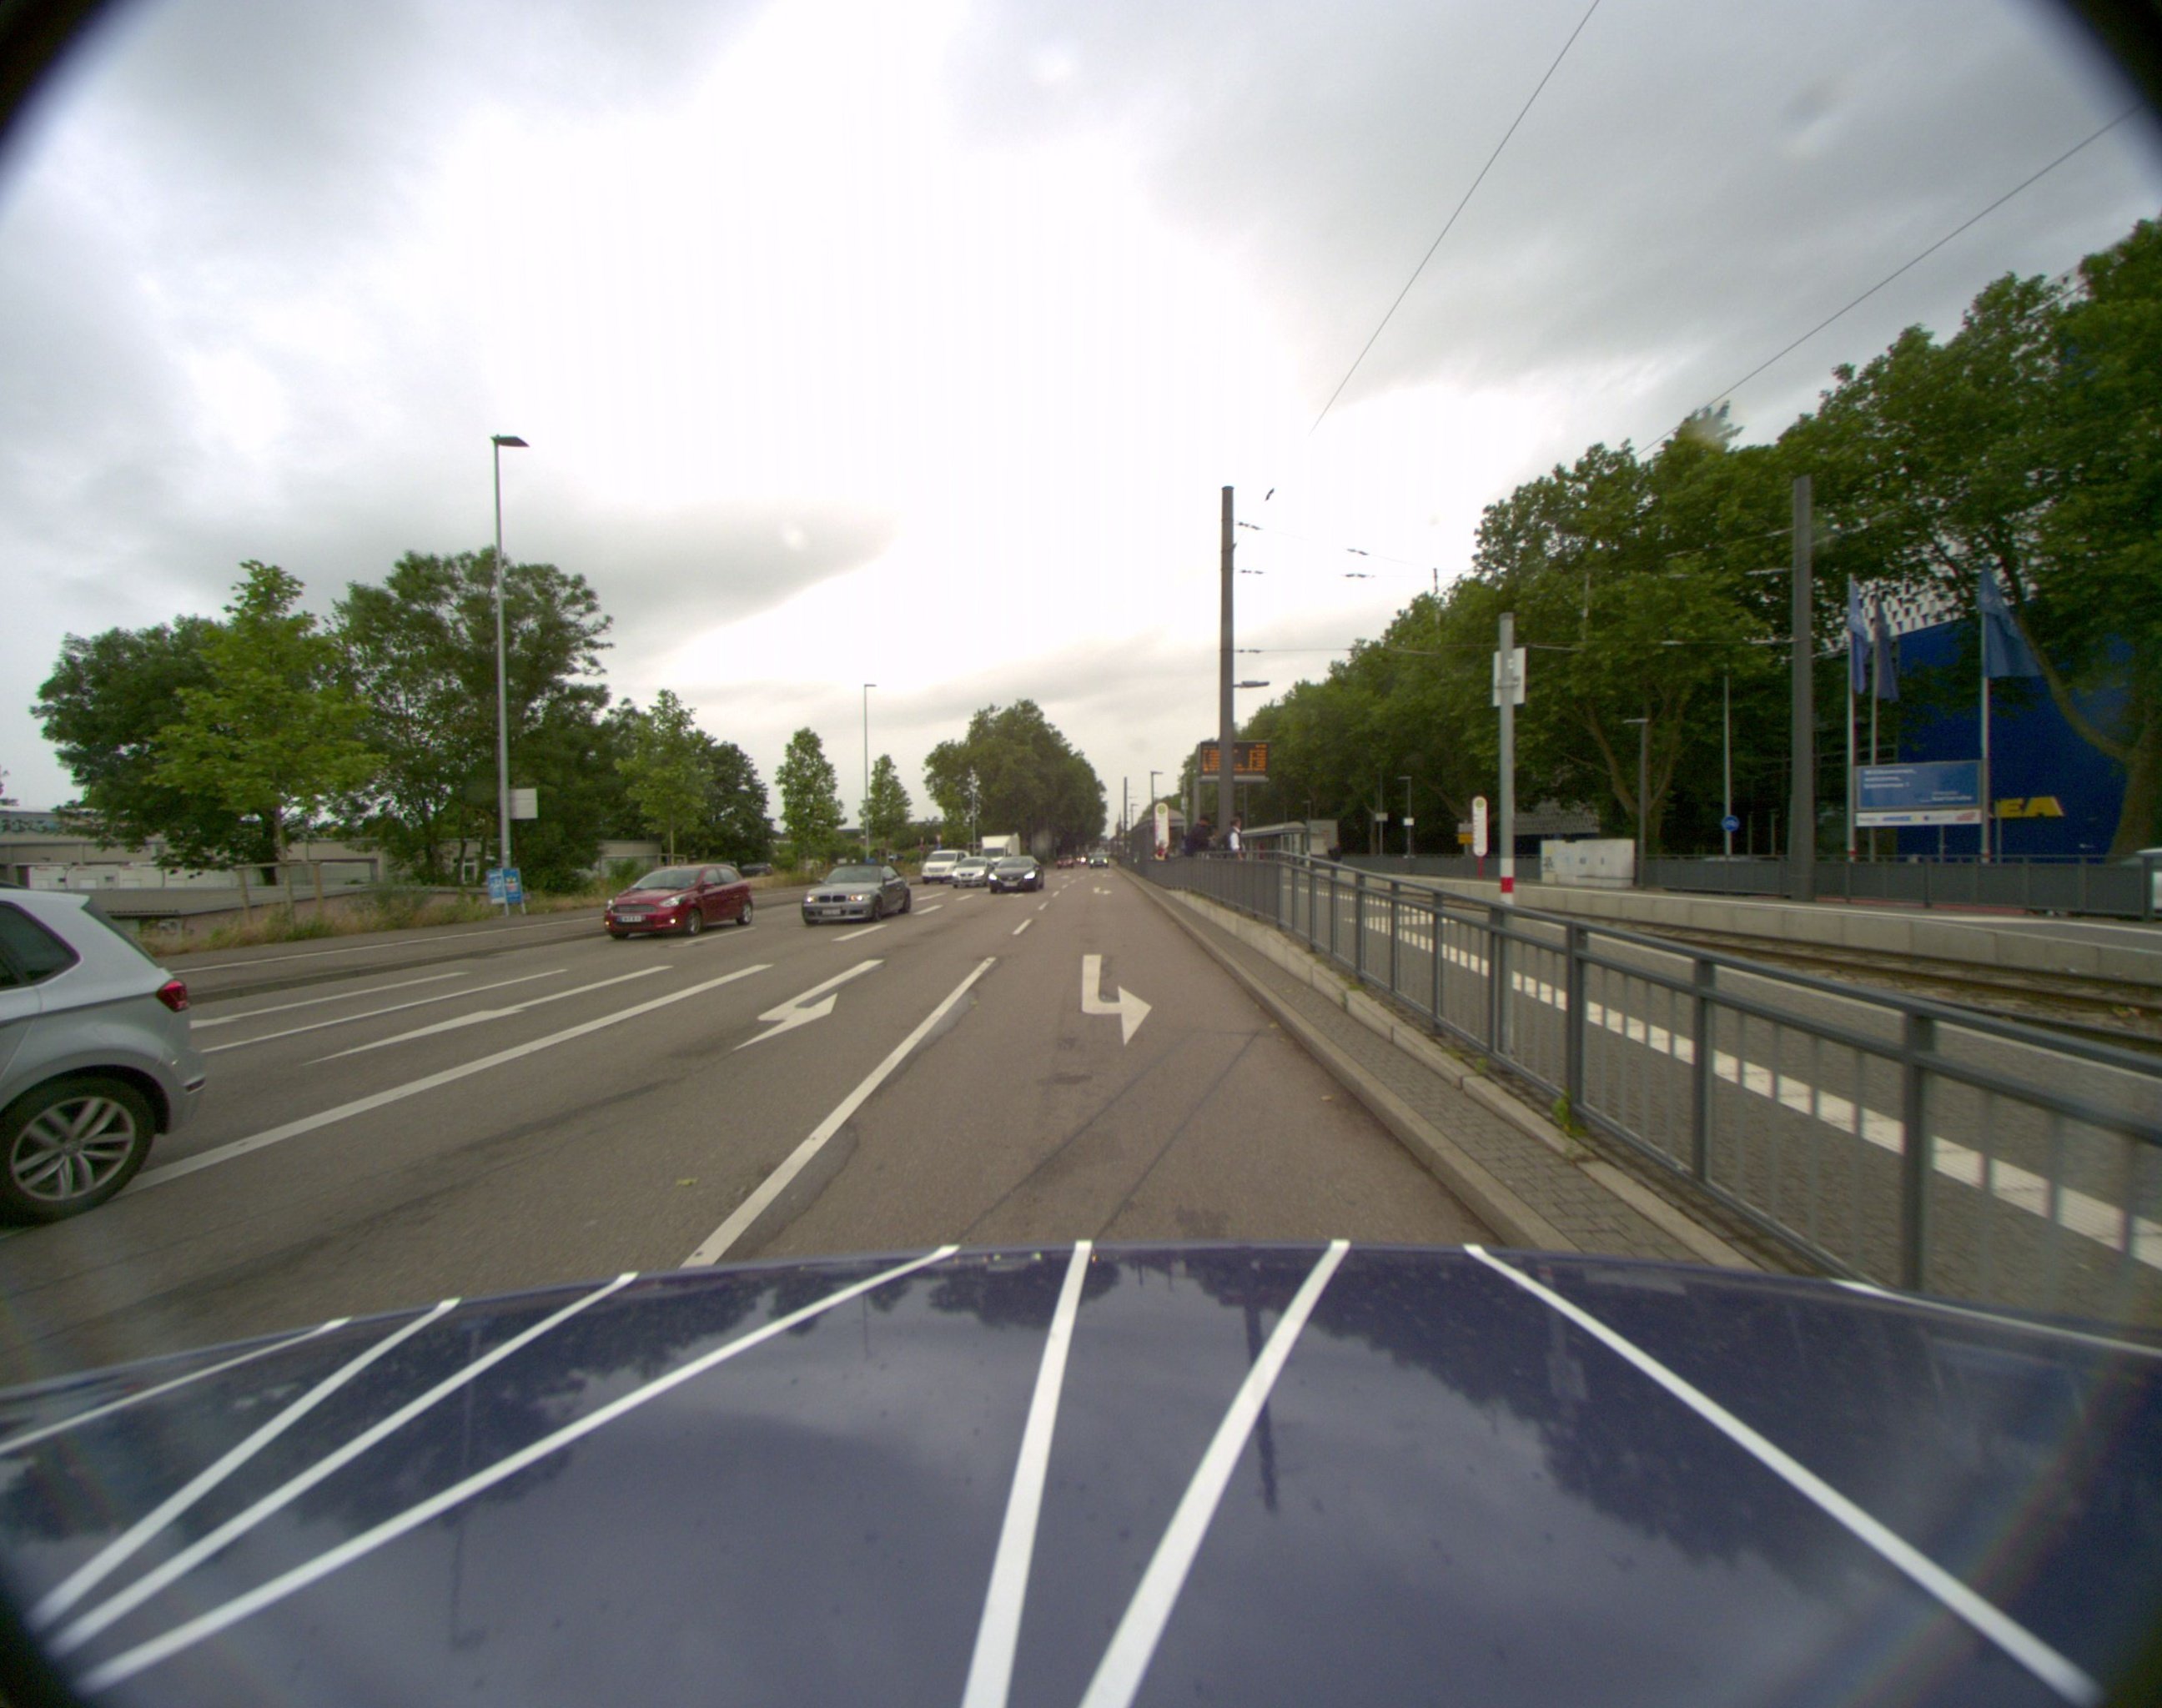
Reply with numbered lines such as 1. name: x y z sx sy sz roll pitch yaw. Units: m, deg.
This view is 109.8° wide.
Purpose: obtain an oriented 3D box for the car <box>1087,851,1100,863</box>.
1. car: 1.940 0.420 113.594 1.712 1.664 3.715 0 0 5

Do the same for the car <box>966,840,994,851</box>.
1. car: -14.868 -1.284 112.117 3.998 1.499 1.810 -2 1 -3

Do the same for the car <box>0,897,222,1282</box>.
1. car: -5.397 1.036 1.840 1.860 1.543 4.200 -2 0 -2

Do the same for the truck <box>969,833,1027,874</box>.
1. truck: -6.215 -0.078 58.273 2.824 2.906 6.547 -2 0 8

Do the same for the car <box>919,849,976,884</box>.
1. car: -7.730 0.693 44.517 2.098 1.869 5.121 -2 0 4

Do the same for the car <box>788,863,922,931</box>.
1. car: -5.482 0.980 19.074 1.875 1.383 4.344 -2 0 2

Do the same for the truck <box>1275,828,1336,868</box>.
1. truck: 22.504 -0.582 76.745 3.259 3.642 9.896 2 0 1

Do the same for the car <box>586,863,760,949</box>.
1. car: -8.690 1.021 16.592 1.655 1.552 3.771 -2 0 1

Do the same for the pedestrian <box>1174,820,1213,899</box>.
1. pedestrian: 2.536 0.114 17.112 0.787 1.732 0.587 -2 2 5

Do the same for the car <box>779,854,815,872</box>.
1. car: -33.385 1.084 89.427 2.316 2.002 4.559 -2 0 1

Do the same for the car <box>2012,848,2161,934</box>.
1. car: 20.864 0.712 14.197 1.796 1.576 4.142 2 0 0

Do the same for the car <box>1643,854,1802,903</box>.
1. car: 20.924 0.734 25.032 1.726 1.410 3.998 1 1 -2

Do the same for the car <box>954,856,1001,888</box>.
1. car: -5.022 0.824 37.240 1.682 1.410 3.850 -2 0 1

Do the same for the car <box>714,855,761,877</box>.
1. car: -32.549 1.077 72.133 2.188 2.002 4.559 1 0 2

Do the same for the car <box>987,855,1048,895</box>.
1. car: -2.477 0.781 30.565 1.998 1.383 4.343 -2 0 1

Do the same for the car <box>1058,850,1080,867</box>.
1. car: -1.323 0.445 83.794 1.891 1.673 4.001 -2 1 6

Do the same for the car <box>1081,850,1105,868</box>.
1. car: 1.215 0.483 76.869 1.960 1.674 4.001 -2 1 6

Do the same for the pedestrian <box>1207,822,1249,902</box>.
1. pedestrian: 2.919 0.152 15.086 0.710 1.551 0.632 -2 2 5

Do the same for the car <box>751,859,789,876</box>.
1. car: -32.760 1.366 80.175 2.123 1.686 4.650 -2 0 -2
